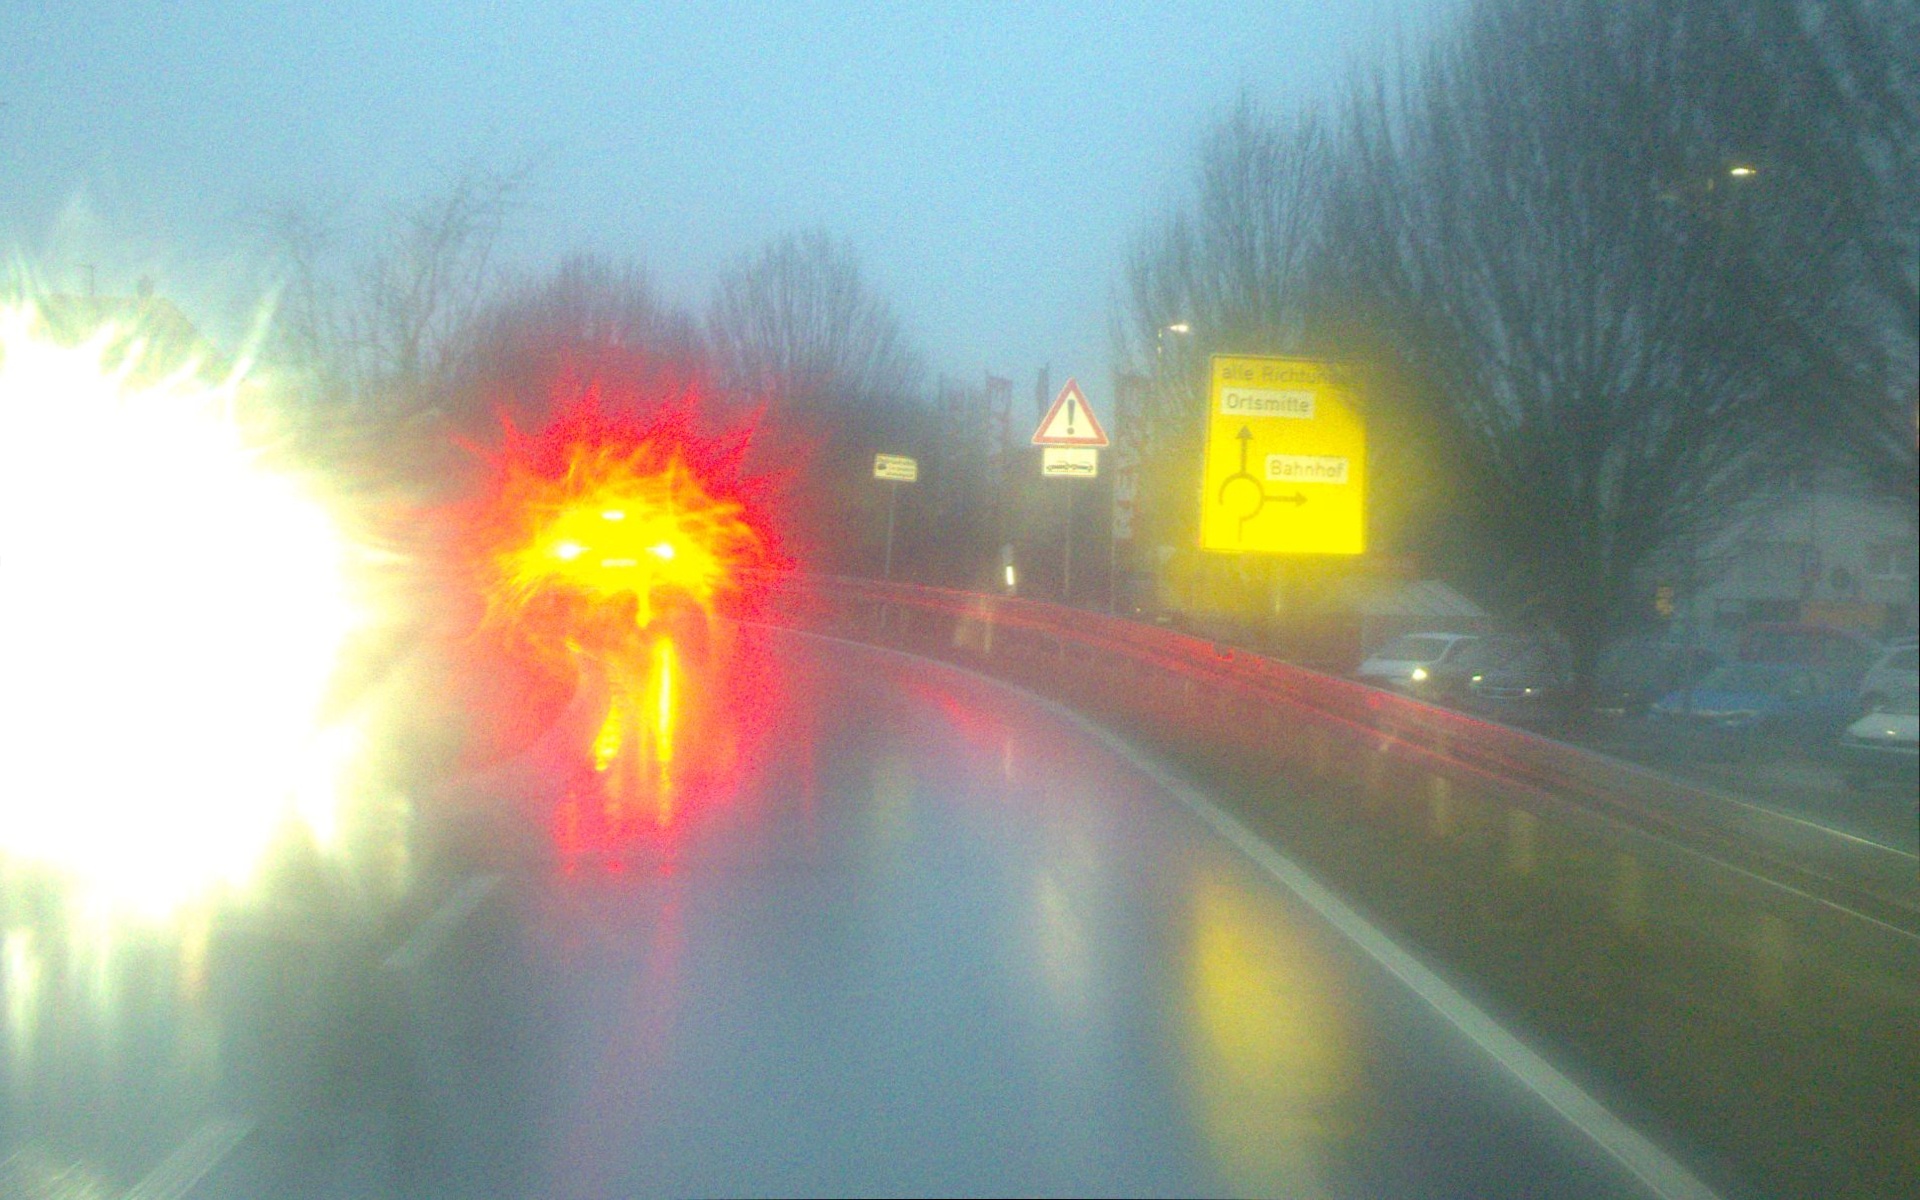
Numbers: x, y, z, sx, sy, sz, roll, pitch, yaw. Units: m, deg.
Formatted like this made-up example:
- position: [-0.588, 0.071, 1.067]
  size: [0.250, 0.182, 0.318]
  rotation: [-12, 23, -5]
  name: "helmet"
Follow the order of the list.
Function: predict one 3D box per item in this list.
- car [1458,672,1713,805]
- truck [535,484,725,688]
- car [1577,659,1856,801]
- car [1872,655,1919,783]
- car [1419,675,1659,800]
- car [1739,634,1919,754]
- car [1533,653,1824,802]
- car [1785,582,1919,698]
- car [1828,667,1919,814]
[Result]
- position: [10.238, 2.270, 56.526]
  size: [3.988, 2.007, 1.999]
  rotation: [2, -2, 8]
  name: "car"
- position: [-5.142, -0.286, 52.731]
  size: [2.531, 2.859, 5.924]
  rotation: [2, 1, -8]
  name: "truck"
- position: [11.562, 1.993, 52.765]
  size: [3.988, 2.007, 1.999]
  rotation: [2, -2, 8]
  name: "car"
- position: [19.556, 2.287, 64.304]
  size: [4.359, 2.370, 2.096]
  rotation: [1, -3, 33]
  name: "car"
- position: [10.022, 2.383, 59.760]
  size: [3.988, 2.007, 1.999]
  rotation: [2, -2, 8]
  name: "car"
- position: [18.613, 1.963, 71.513]
  size: [4.357, 2.370, 2.098]
  rotation: [1, -2, 24]
  name: "car"
- position: [10.443, 1.862, 50.209]
  size: [3.988, 2.007, 1.999]
  rotation: [2, -2, 8]
  name: "car"
- position: [22.852, 1.006, 85.144]
  size: [4.357, 2.748, 2.098]
  rotation: [1, -2, 24]
  name: "car"
- position: [13.053, 1.808, 43.087]
  size: [3.988, 1.788, 1.999]
  rotation: [2, -2, 8]
  name: "car"
